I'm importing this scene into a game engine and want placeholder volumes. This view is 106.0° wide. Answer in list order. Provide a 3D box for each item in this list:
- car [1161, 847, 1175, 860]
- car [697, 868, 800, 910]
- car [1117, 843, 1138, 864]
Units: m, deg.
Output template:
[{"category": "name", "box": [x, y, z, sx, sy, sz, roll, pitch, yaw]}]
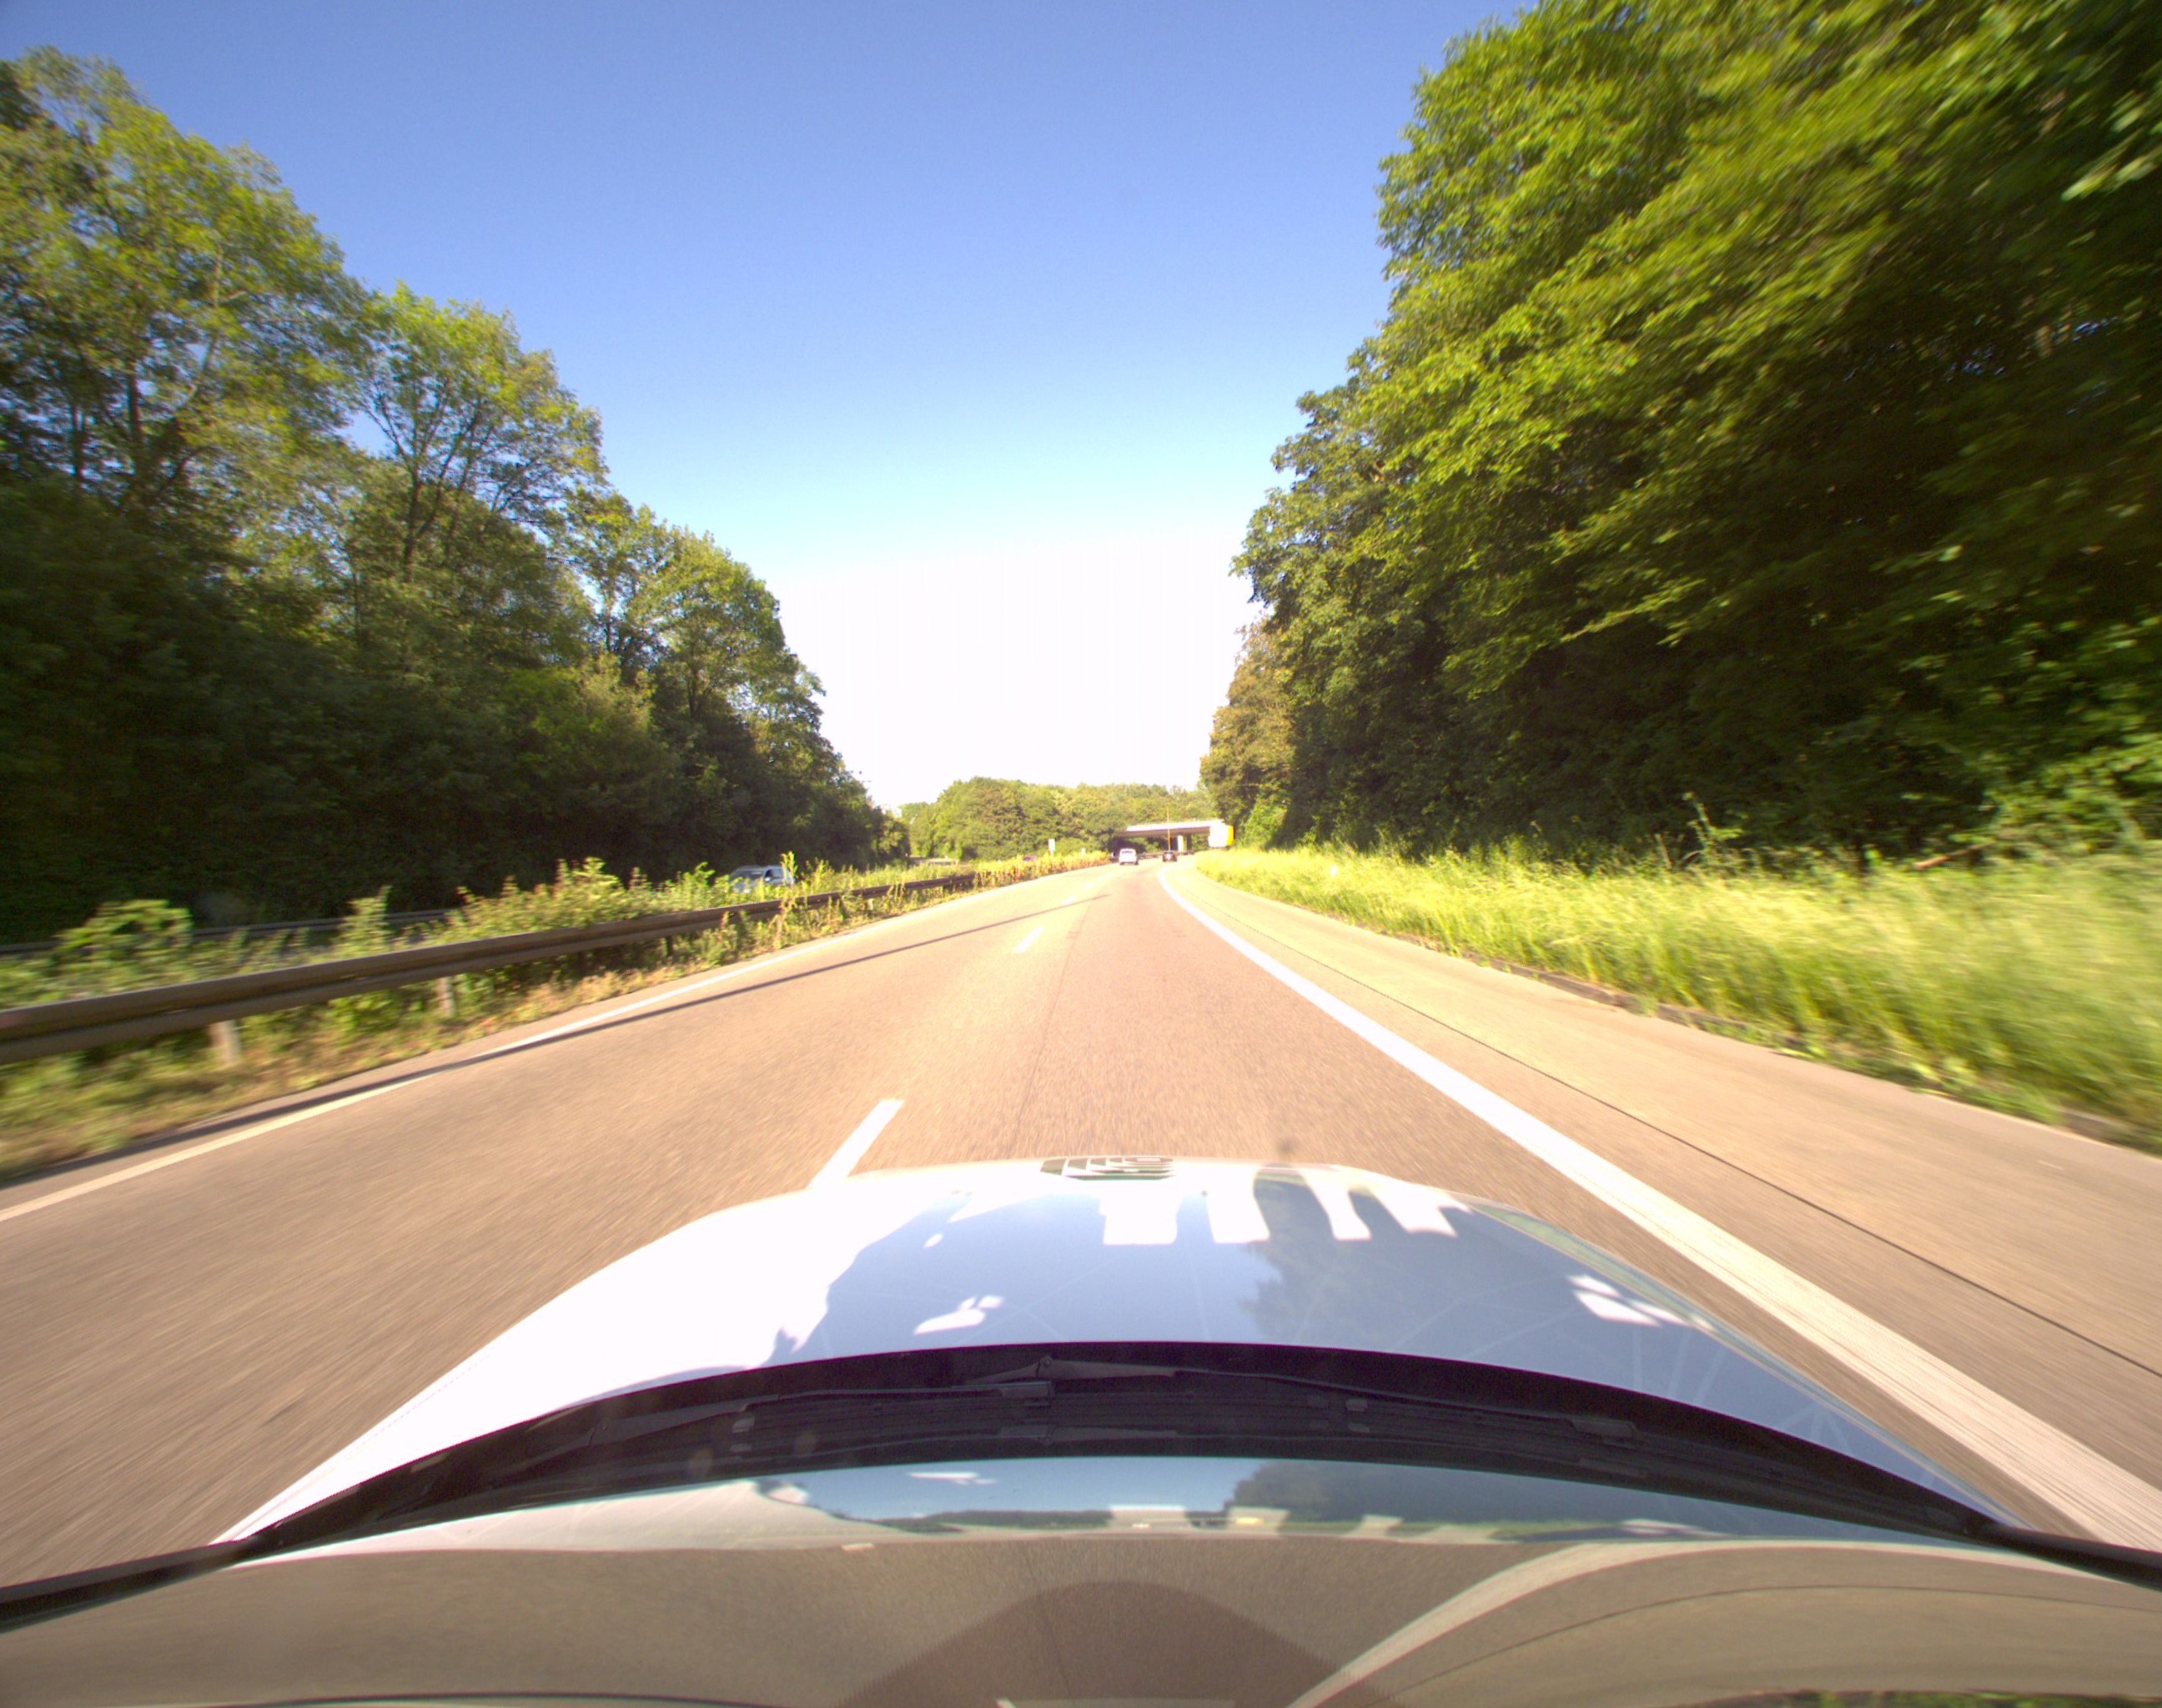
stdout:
[{"category": "car", "box": [11.863, -0.035, 111.237, 1.729, 1.662, 3.954, -3, 0, 8]}, {"category": "car", "box": [-13.527, 1.371, 33.510, 1.986, 1.486, 5.240, -1, 0, 1]}, {"category": "car", "box": [5.229, -0.066, 91.319, 1.983, 2.277, 4.008, -3, 0, 7]}]
